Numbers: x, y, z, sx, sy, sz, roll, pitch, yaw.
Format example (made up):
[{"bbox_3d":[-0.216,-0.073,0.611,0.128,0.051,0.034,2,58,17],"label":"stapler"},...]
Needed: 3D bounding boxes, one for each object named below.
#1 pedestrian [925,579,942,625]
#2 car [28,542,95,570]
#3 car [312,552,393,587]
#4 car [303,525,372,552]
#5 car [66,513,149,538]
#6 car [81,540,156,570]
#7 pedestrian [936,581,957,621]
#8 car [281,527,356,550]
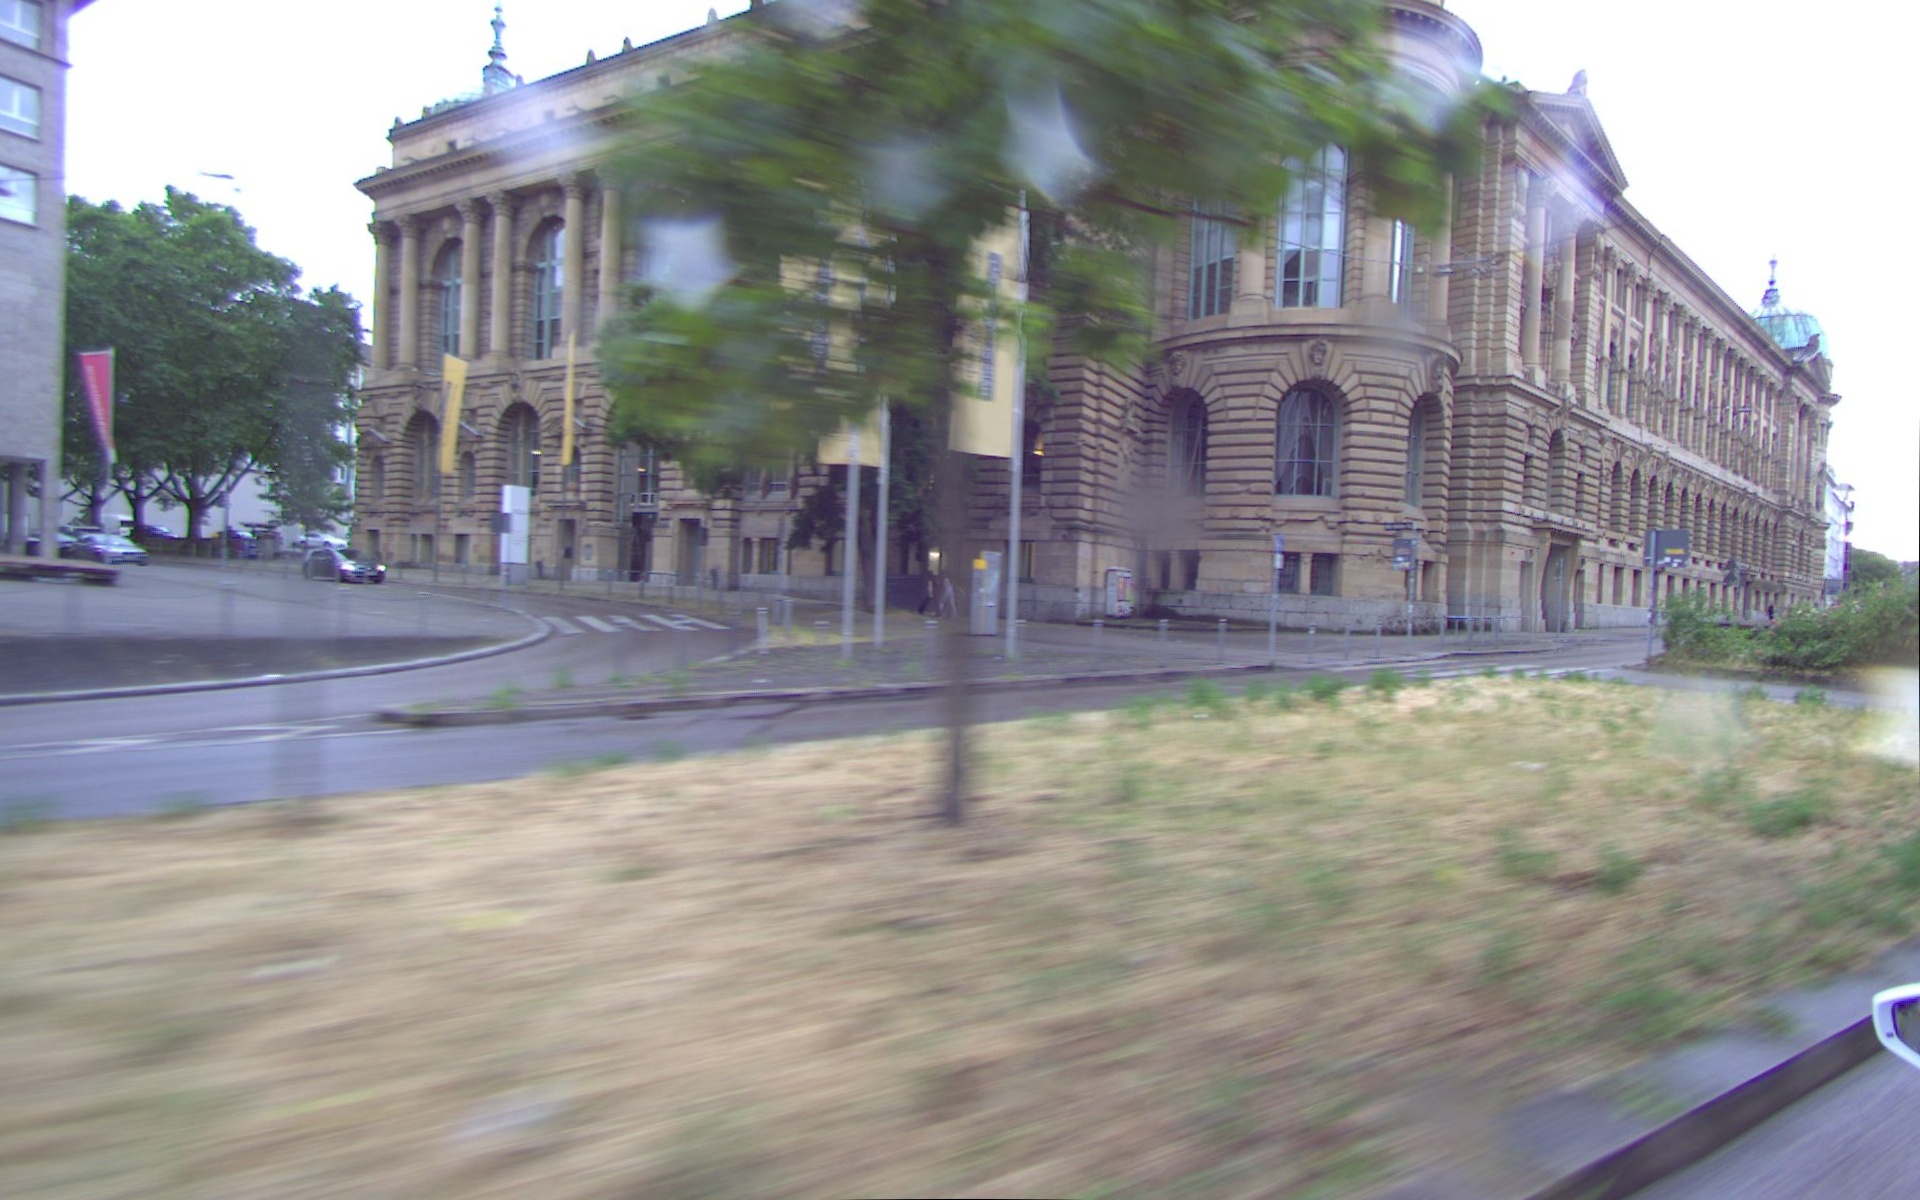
[{"bbox_3d":[-0.896,0.072,34.371,0.380,1.549,0.441,2,1,30],"label":"pedestrian"},{"bbox_3d":[-43.408,-2.141,48.516,3.561,1.265,1.615,2,1,34],"label":"car"},{"bbox_3d":[-26.240,-1.316,43.365,3.560,1.422,1.615,2,1,33],"label":"car"},{"bbox_3d":[-67.138,-6.619,108.324,6.165,2.596,2.315,2,1,7],"label":"car"},{"bbox_3d":[-78.976,-6.910,93.097,6.165,1.983,2.315,2,1,7],"label":"car"},{"bbox_3d":[-38.097,-2.022,45.457,3.560,1.265,1.615,2,1,33],"label":"car"},{"bbox_3d":[-0.472,0.036,34.908,0.433,1.363,0.643,2,1,30],"label":"pedestrian"},{"bbox_3d":[-63.802,-6.085,99.930,6.165,1.983,2.315,2,1,7],"label":"car"}]
